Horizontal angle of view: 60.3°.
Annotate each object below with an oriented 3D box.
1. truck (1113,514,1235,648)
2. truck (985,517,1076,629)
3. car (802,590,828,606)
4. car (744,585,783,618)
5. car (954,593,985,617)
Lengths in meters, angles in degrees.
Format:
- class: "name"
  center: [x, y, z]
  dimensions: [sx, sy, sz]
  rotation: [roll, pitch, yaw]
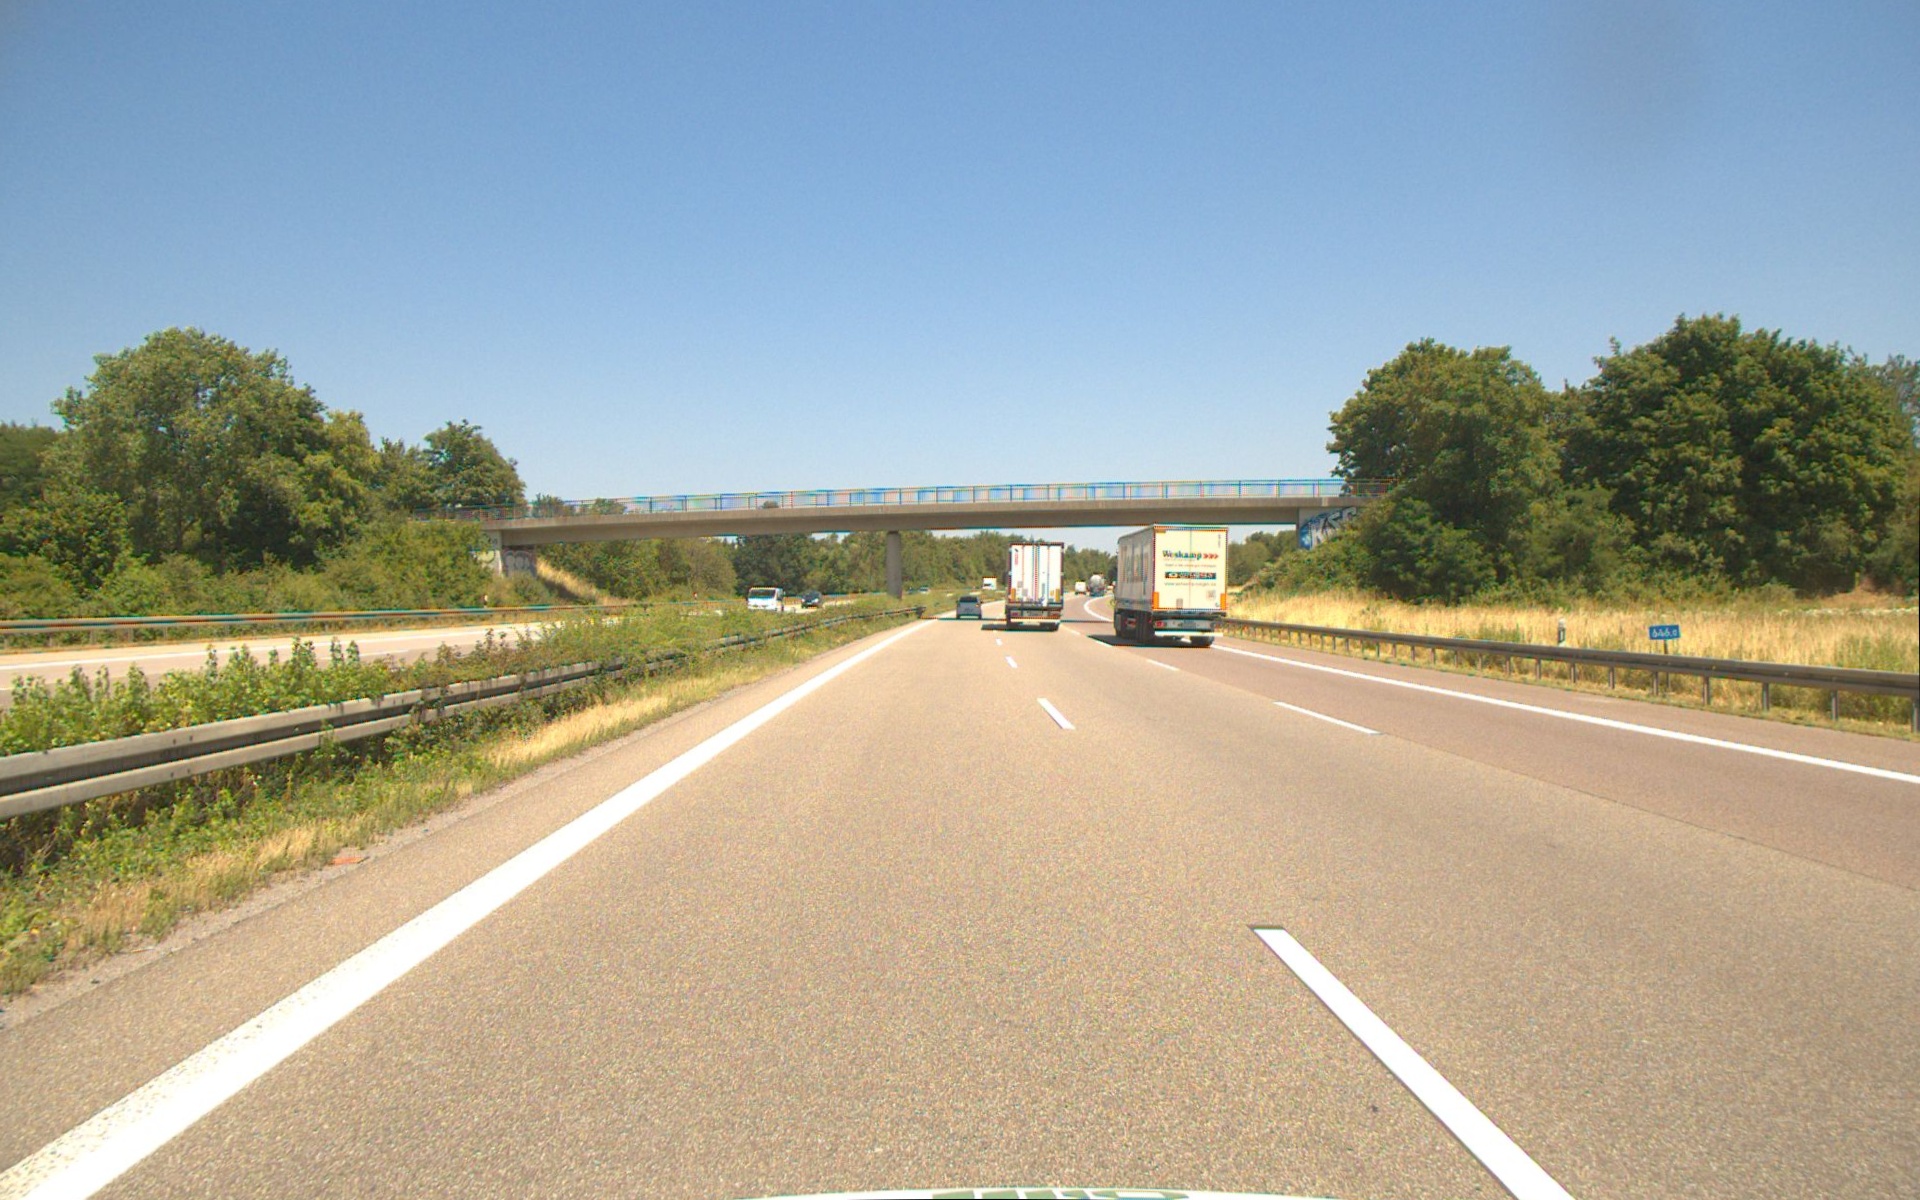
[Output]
- class: "truck"
  center: [7.814, -0.728, 62.677]
  dimensions: [3.115, 4.379, 16.022]
  rotation: [1, 1, 2]
- class: "truck"
  center: [3.353, -1.325, 83.444]
  dimensions: [3.592, 5.106, 16.014]
  rotation: [1, 1, -1]
- class: "car"
  center: [-13.617, -0.190, 155.534]
  dimensions: [1.789, 1.487, 4.321]
  rotation: [1, 0, 4]
- class: "car"
  center: [-12.504, 0.081, 105.500]
  dimensions: [1.790, 2.049, 5.330]
  rotation: [1, 0, 0]
- class: "car"
  center: [0.667, 0.326, 110.370]
  dimensions: [1.789, 1.574, 4.321]
  rotation: [1, 0, 3]
